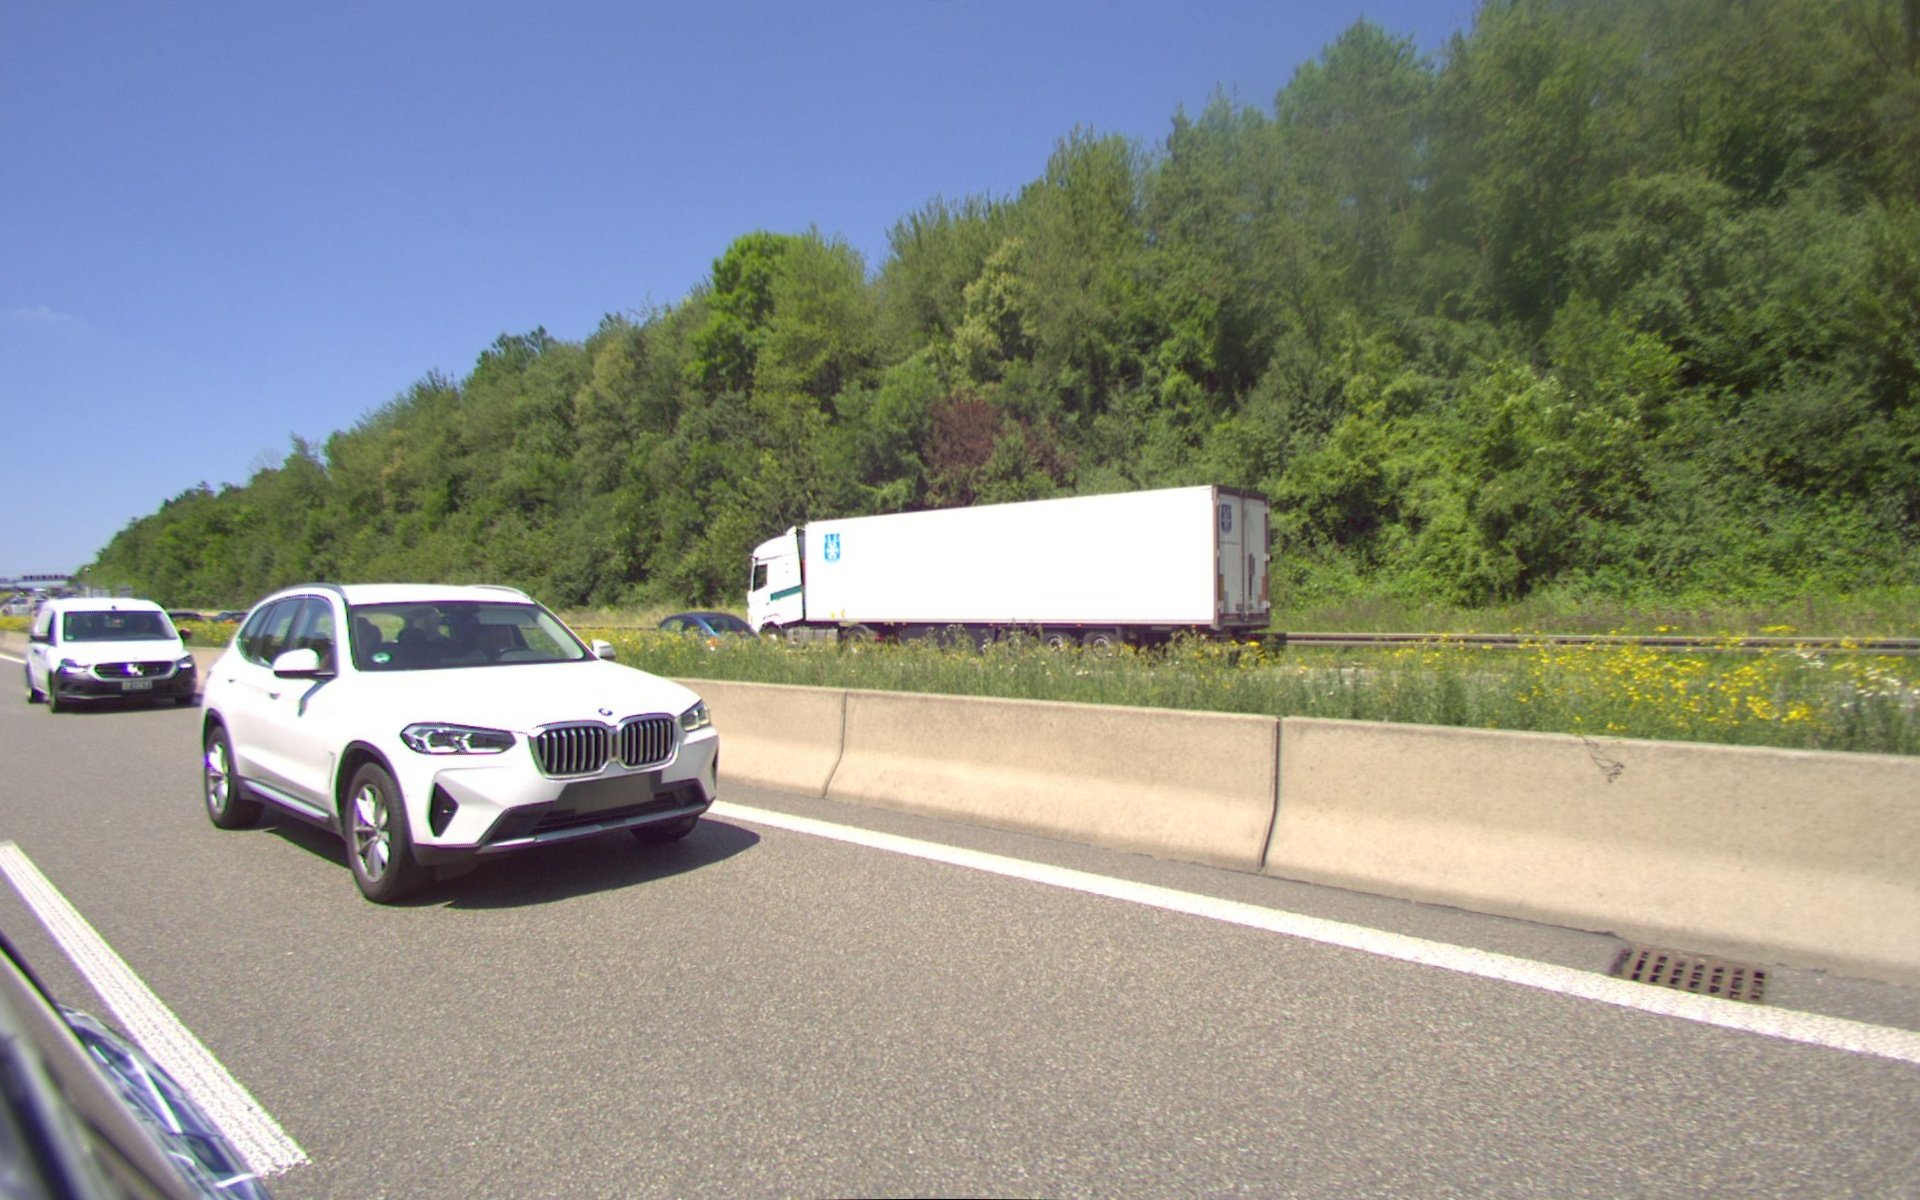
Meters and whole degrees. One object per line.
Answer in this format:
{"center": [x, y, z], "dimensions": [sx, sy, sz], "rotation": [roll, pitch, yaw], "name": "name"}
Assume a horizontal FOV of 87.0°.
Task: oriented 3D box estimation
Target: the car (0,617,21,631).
{"center": [-116.825, 2.940, 124.276], "dimensions": [4.000, 1.564, 1.972], "rotation": [-1, -1, 43], "name": "car"}

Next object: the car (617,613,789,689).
{"center": [-6.028, 1.101, 23.532], "dimensions": [3.998, 1.584, 1.973], "rotation": [0, 0, 41], "name": "car"}

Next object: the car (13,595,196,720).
{"center": [-14.480, 0.890, 17.022], "dimensions": [4.673, 1.826, 1.746], "rotation": [-2, -1, 42], "name": "car"}

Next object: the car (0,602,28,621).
{"center": [-105.120, 1.250, 112.355], "dimensions": [4.900, 2.029, 1.972], "rotation": [0, 0, 43], "name": "car"}

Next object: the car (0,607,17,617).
{"center": [-162.870, 1.971, 173.248], "dimensions": [3.999, 1.680, 1.897], "rotation": [0, 0, 42], "name": "car"}

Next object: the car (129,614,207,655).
{"center": [-34.867, 1.502, 44.523], "dimensions": [4.078, 1.691, 1.973], "rotation": [-2, -1, 41], "name": "car"}

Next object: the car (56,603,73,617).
{"center": [-159.548, 1.788, 180.290], "dimensions": [4.000, 2.448, 1.972], "rotation": [0, 0, 42], "name": "car"}

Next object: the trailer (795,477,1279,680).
{"center": [1.182, -0.422, 26.722], "dimensions": [13.926, 4.239, 2.687], "rotation": [0, 0, 41], "name": "trailer"}

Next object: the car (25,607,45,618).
{"center": [-125.508, 1.672, 137.264], "dimensions": [3.507, 1.399, 1.651], "rotation": [-2, -1, 42], "name": "car"}

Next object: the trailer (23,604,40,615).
{"center": [-169.014, 1.692, 184.126], "dimensions": [4.000, 2.029, 1.972], "rotation": [0, 0, 43], "name": "trailer"}

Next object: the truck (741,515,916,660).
{"center": [-4.155, -0.334, 31.469], "dimensions": [5.201, 4.120, 2.661], "rotation": [0, 0, 42], "name": "truck"}

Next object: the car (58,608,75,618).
{"center": [-131.237, 1.933, 148.645], "dimensions": [3.508, 1.399, 1.597], "rotation": [-2, -1, 43], "name": "car"}

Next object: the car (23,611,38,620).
{"center": [-145.201, 2.365, 158.073], "dimensions": [1.580, 1.394, 3.362], "rotation": [0, 0, -45], "name": "car"}

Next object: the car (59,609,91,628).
{"center": [-88.582, 1.844, 101.260], "dimensions": [3.999, 1.763, 1.972], "rotation": [-1, -1, 42], "name": "car"}

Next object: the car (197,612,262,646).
{"center": [-38.124, 1.495, 52.777], "dimensions": [3.978, 1.654, 1.928], "rotation": [-2, -1, 41], "name": "car"}

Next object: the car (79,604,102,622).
{"center": [-103.709, 1.539, 120.675], "dimensions": [3.999, 2.029, 1.615], "rotation": [0, 0, 42], "name": "car"}

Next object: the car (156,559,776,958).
{"center": [-3.529, 0.727, 6.657], "dimensions": [4.952, 1.707, 1.845], "rotation": [-2, -1, 40], "name": "car"}

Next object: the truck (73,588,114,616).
{"center": [-138.944, 0.361, 162.168], "dimensions": [13.796, 4.226, 3.668], "rotation": [0, 0, 44], "name": "truck"}
